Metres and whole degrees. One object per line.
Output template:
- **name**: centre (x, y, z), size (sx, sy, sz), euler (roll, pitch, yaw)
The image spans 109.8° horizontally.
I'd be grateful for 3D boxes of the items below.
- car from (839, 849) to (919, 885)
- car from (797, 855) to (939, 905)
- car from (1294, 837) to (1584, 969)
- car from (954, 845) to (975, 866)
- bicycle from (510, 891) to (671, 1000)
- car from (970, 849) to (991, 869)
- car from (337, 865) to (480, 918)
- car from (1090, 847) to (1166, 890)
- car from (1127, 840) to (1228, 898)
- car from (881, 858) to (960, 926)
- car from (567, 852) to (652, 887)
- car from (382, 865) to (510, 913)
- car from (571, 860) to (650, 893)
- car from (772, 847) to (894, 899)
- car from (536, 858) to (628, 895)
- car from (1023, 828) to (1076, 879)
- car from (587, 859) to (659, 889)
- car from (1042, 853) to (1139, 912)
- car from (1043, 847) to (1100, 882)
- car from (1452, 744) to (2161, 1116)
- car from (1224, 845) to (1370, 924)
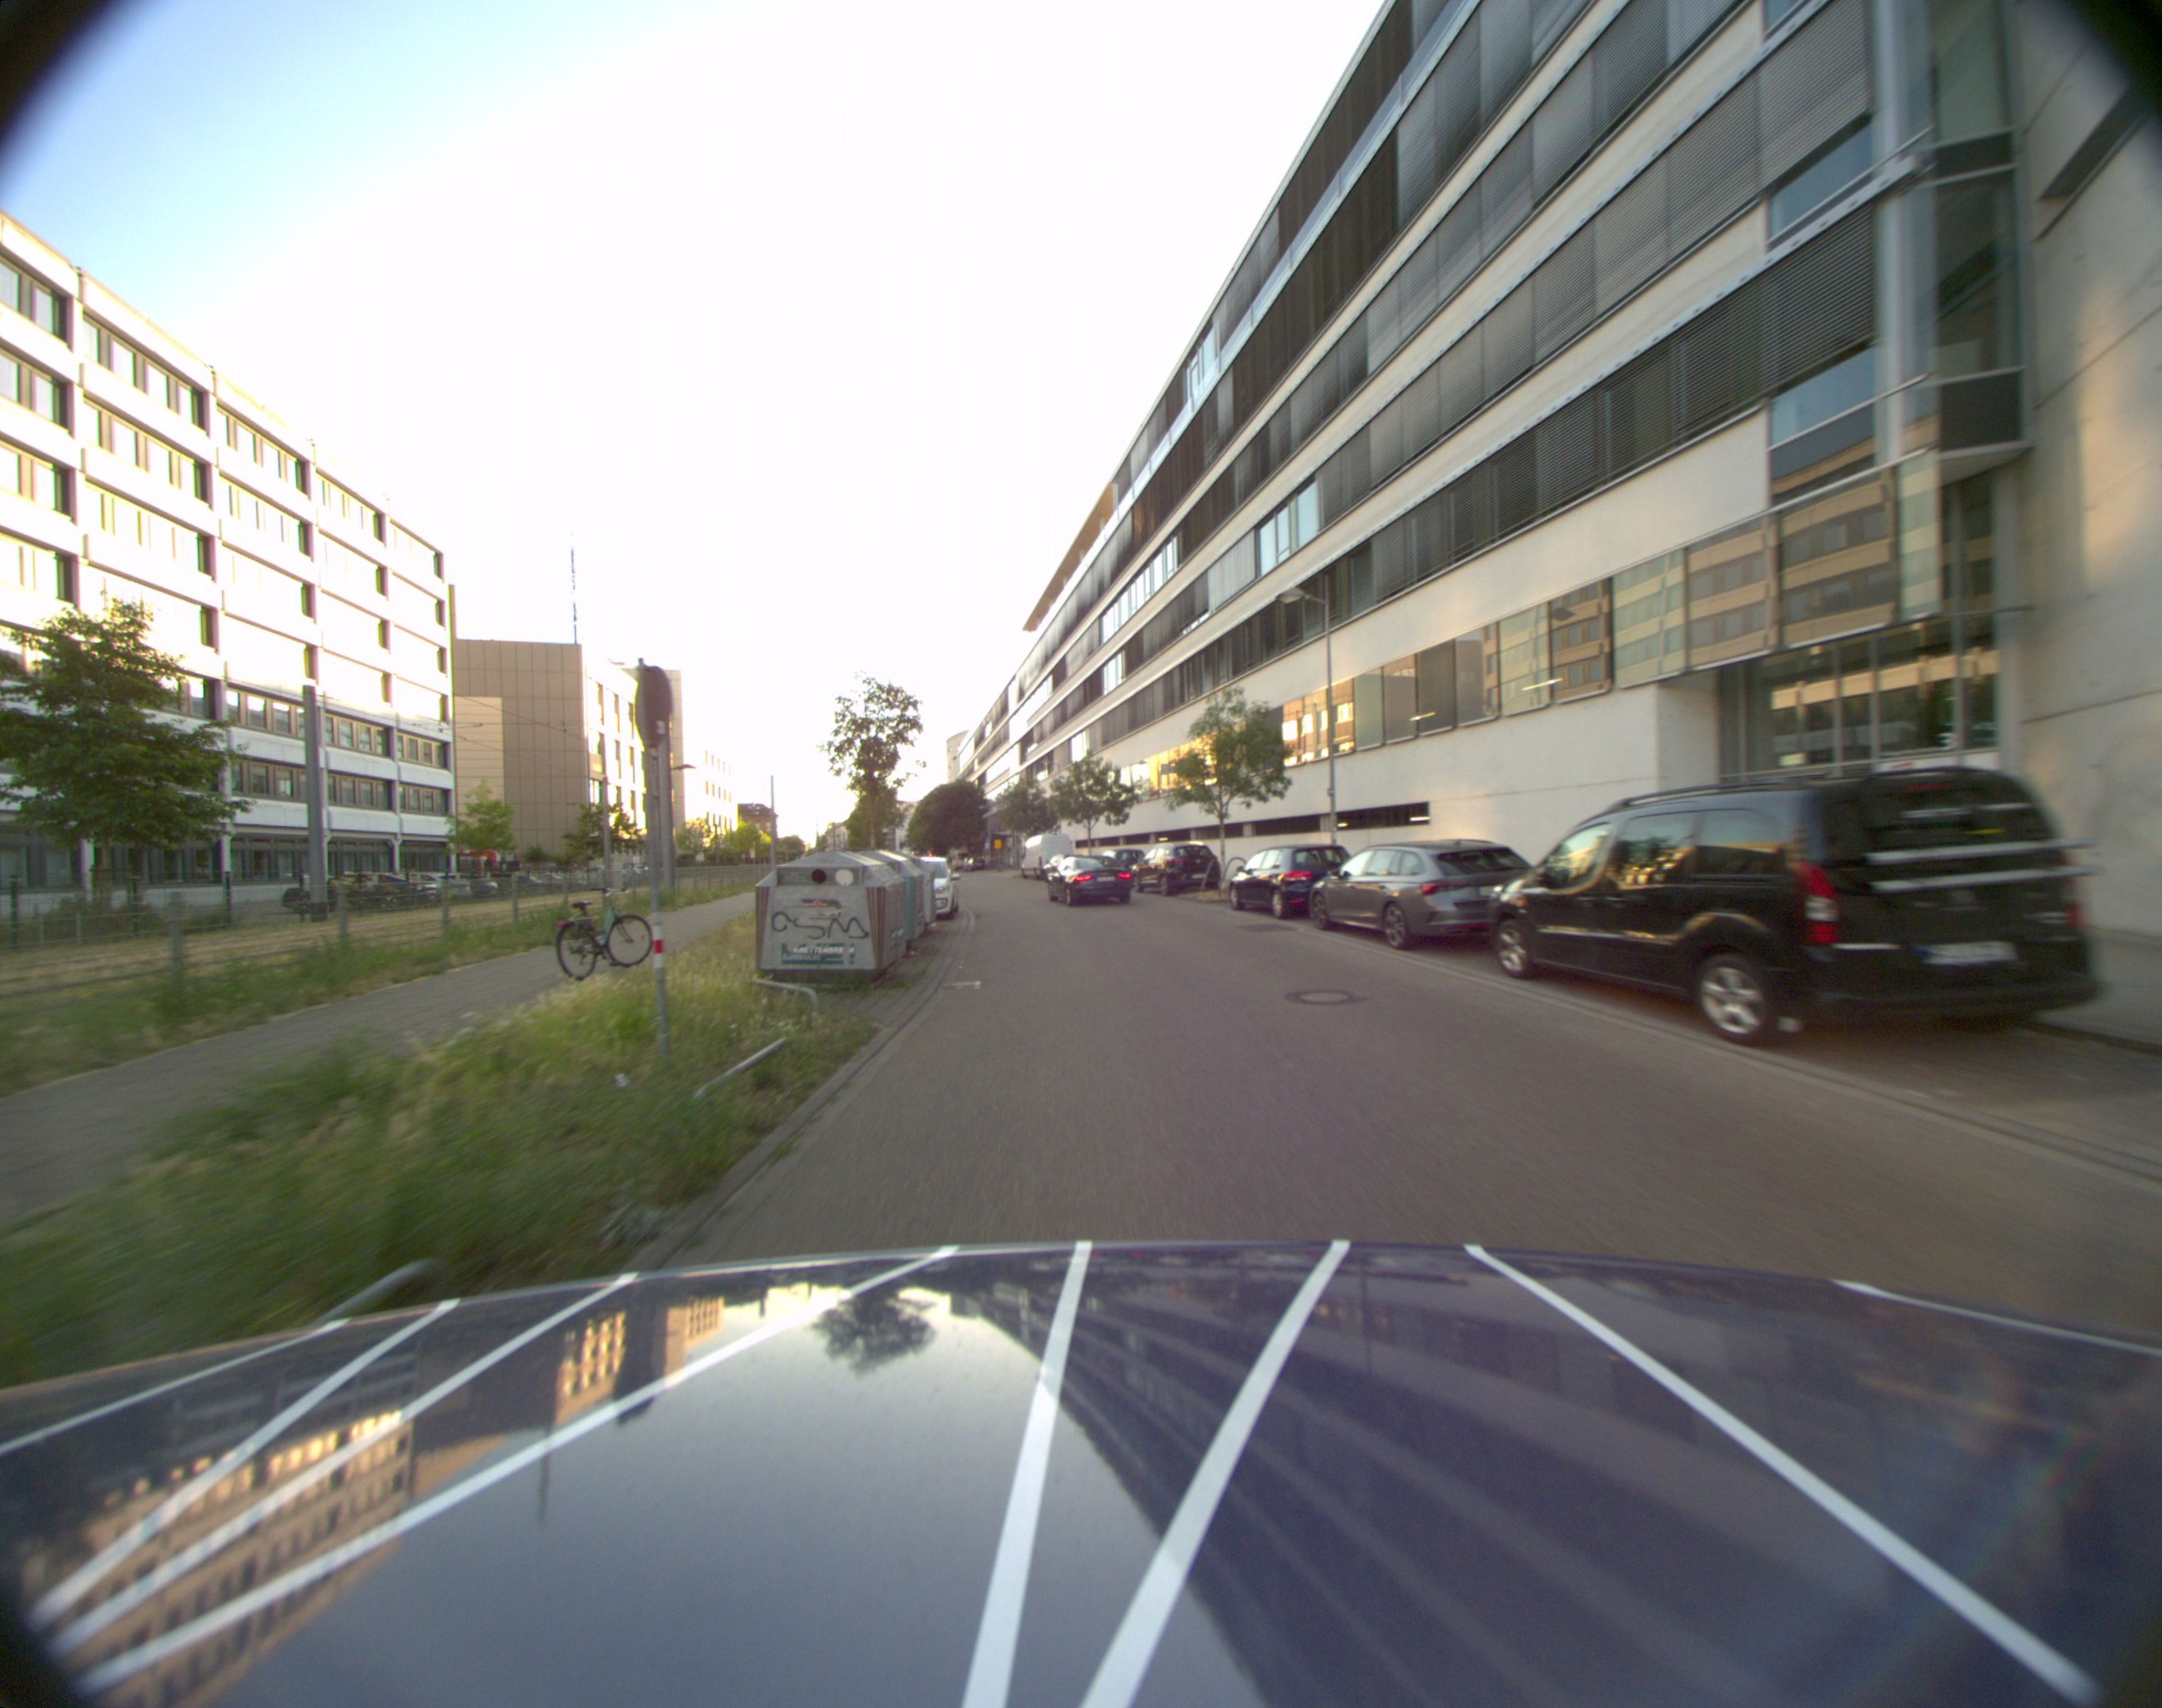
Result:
- **car**: centre (-11.746, 0.730, 44.397), size (1.713, 1.948, 4.182), euler (-1, 0, 41)
- **car**: centre (-6.571, 0.767, 23.839), size (1.713, 1.368, 4.008), euler (-2, 0, 38)
- **car**: centre (4.957, 0.590, 11.388), size (1.866, 1.468, 4.518), euler (-4, 0, -4)
- **car**: centre (-14.582, 0.155, 94.931), size (2.001, 2.570, 3.994), euler (-1, 0, -16)
- **bicycle**: centre (-6.096, 1.087, 9.594), size (0.542, 1.128, 1.926), euler (-2, 0, 8)
- **car**: centre (-10.738, 0.550, 80.760), size (2.000, 2.002, 3.996), euler (-1, 0, -10)
- **car**: centre (-28.443, 1.547, 32.307), size (4.002, 2.002, 1.997), euler (-2, 0, -16)
- **car**: centre (1.852, 0.561, 31.220), size (1.798, 1.542, 3.994), euler (-4, 1, -16)
- **car**: centre (3.064, 0.462, 24.965), size (1.798, 1.676, 3.994), euler (-3, 1, -16)
- **car**: centre (-3.907, 0.873, 18.973), size (1.631, 1.503, 3.415), euler (-1, 0, -7)
- **car**: centre (-29.277, 0.961, 47.328), size (4.002, 2.002, 1.997), euler (-2, 0, -16)
- **car**: centre (-29.190, 1.572, 35.076), size (4.002, 2.002, 1.997), euler (-2, 0, -16)
- **car**: centre (-31.299, 1.473, 50.702), size (4.002, 2.002, 1.997), euler (-2, 0, -16)
- **car**: centre (-9.241, 0.668, 28.561), size (1.713, 1.746, 4.008), euler (-1, 0, 41)
- **car**: centre (-28.963, 1.272, 44.258), size (4.002, 2.002, 1.997), euler (-2, 0, -16)
- **car**: centre (-1.981, -0.016, 45.149), size (2.006, 2.859, 6.248), euler (0, 0, -13)
- **car**: centre (-32.832, 1.393, 54.570), size (4.002, 2.002, 1.997), euler (-2, 0, -16)
- **car**: centre (0.157, 0.773, 22.848), size (1.861, 1.489, 4.669), euler (-3, 0, -12)
- **car**: centre (-0.557, 0.541, 39.240), size (1.799, 1.692, 3.994), euler (0, 0, -19)
- **car**: centre (5.225, 0.428, 6.488), size (1.894, 1.961, 4.518), euler (-4, 0, 1)
- **car**: centre (4.471, 0.578, 16.337), size (1.653, 1.468, 3.763), euler (-1, 0, -7)
